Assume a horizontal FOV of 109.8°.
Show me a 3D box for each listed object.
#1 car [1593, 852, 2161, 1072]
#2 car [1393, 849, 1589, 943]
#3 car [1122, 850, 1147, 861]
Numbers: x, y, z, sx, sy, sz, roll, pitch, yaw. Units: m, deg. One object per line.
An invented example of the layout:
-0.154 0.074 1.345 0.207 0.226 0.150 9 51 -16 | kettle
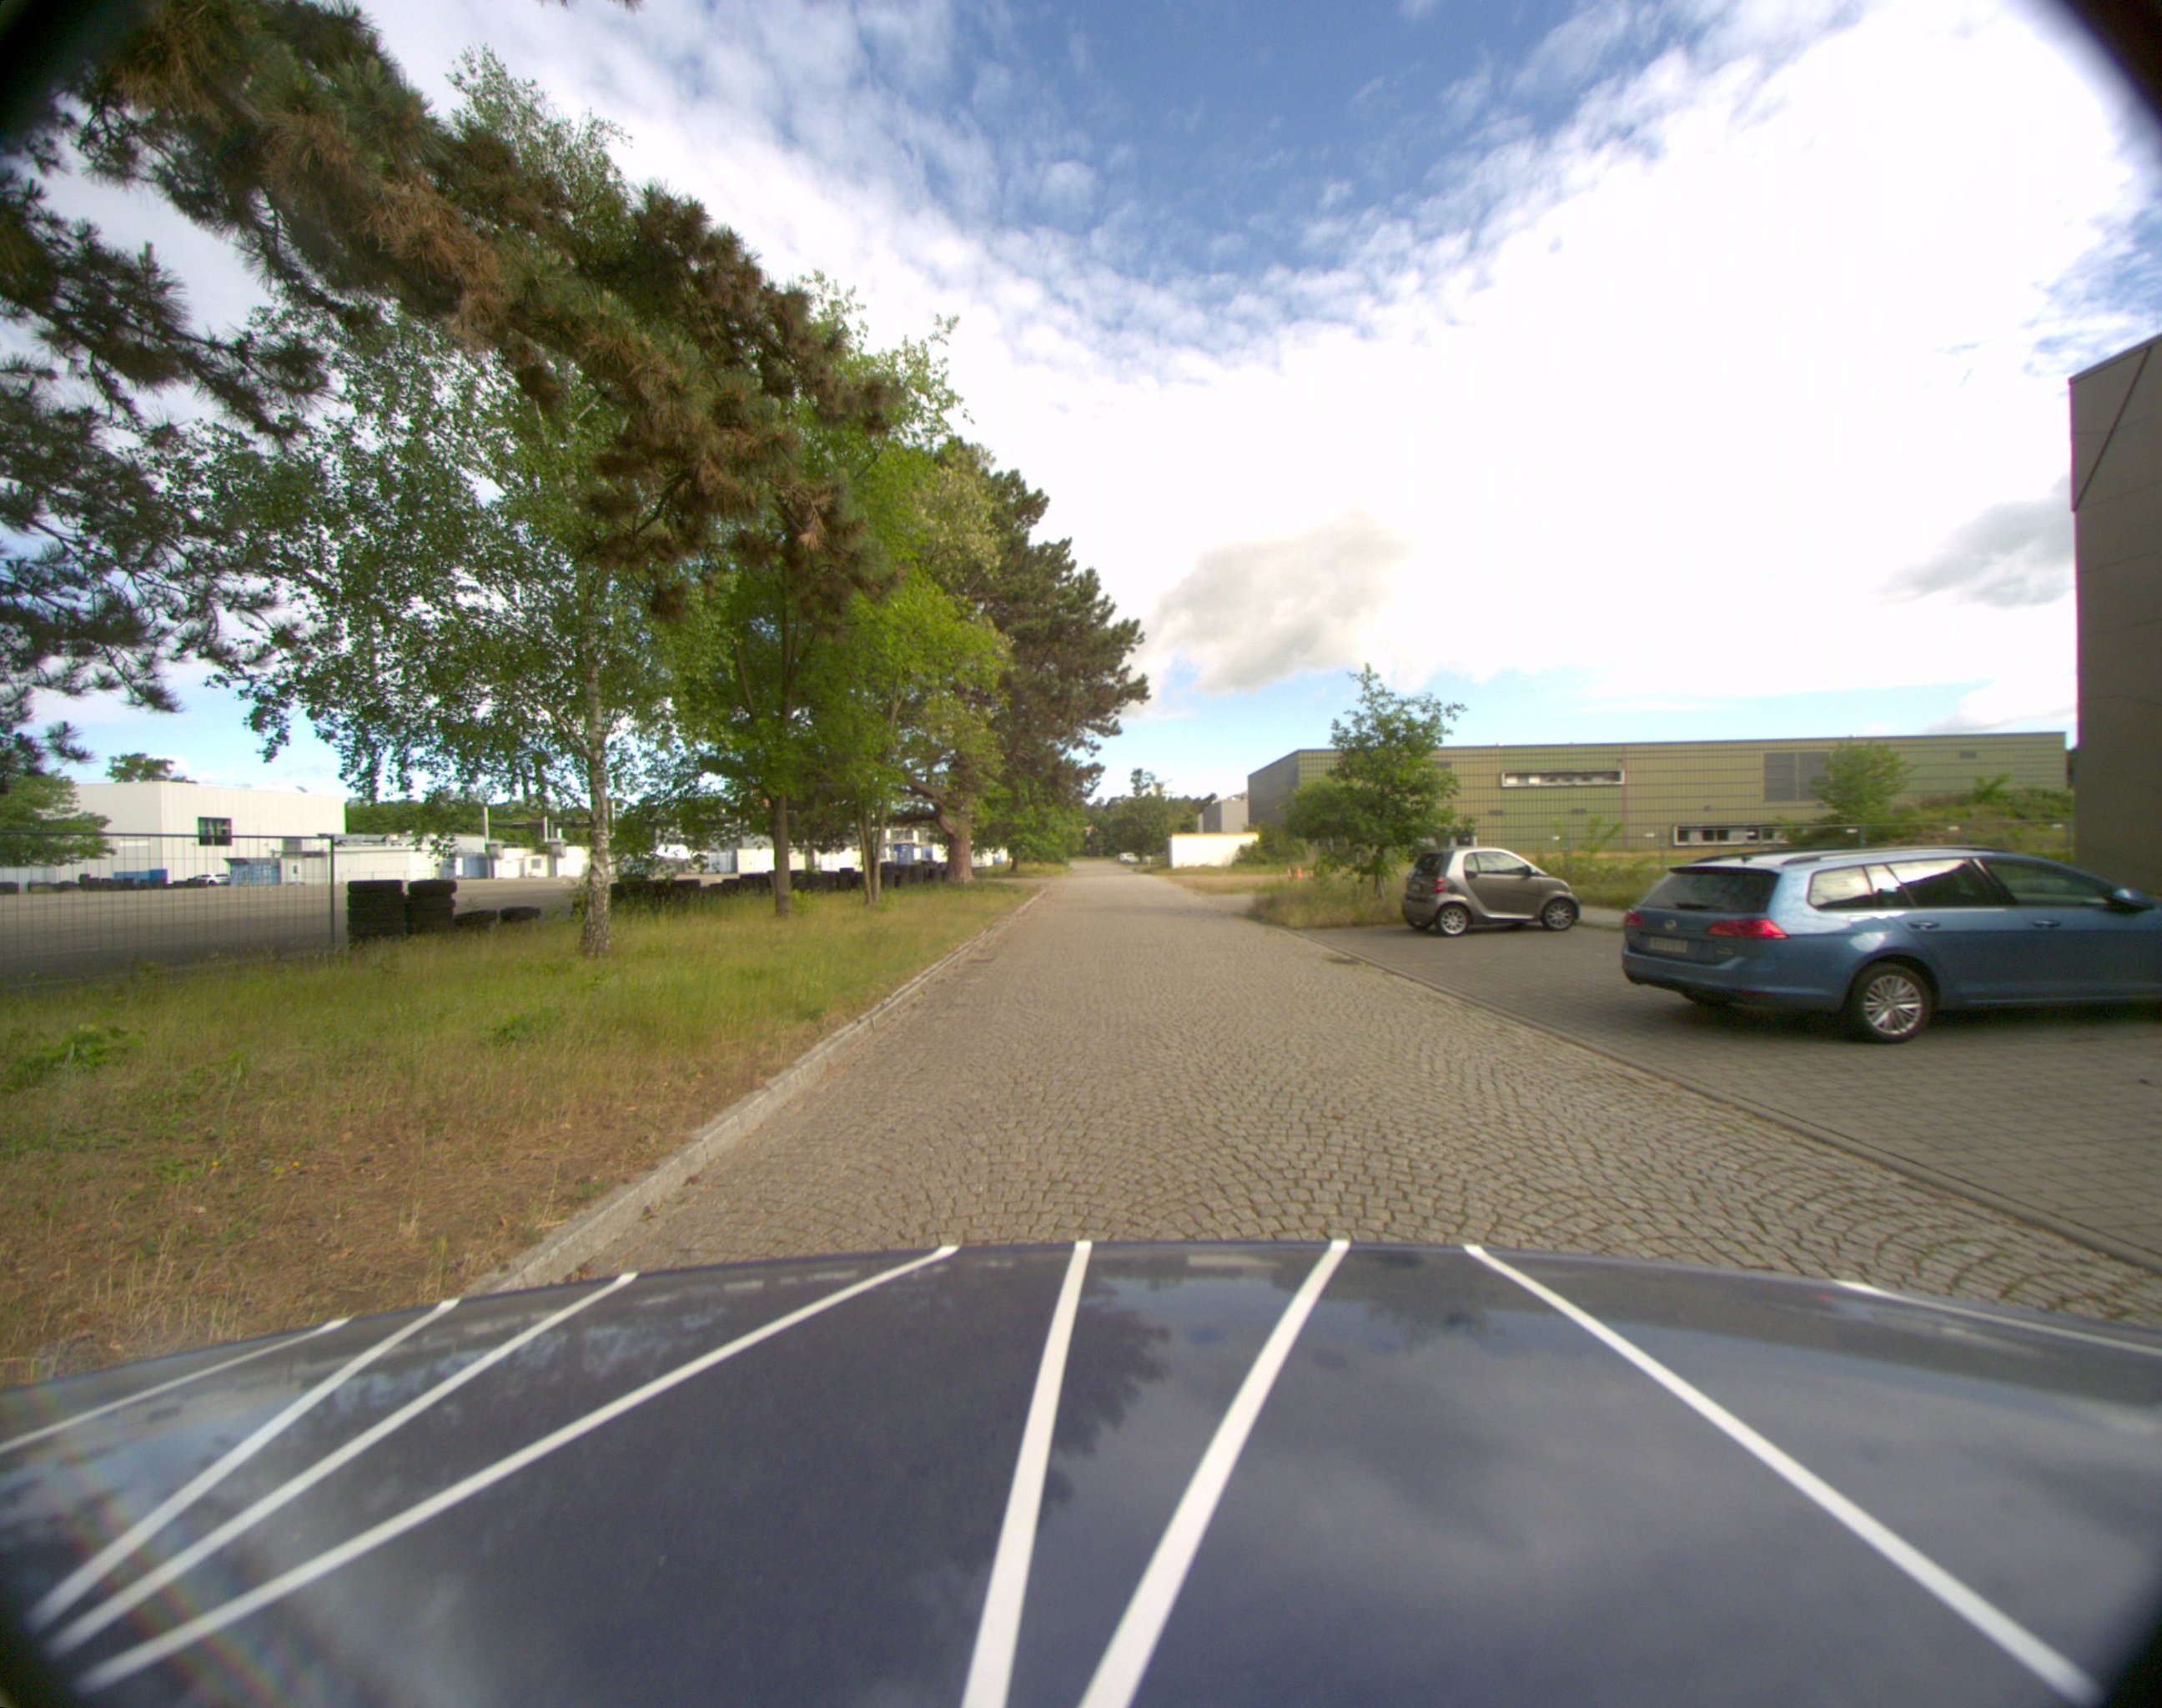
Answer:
7.172 0.793 6.556 4.317 1.420 1.773 -3 0 -2 | car
7.386 0.728 13.876 2.661 1.502 1.610 -3 0 0 | car
8.513 0.195 121.095 3.996 1.604 1.797 -1 1 4 | car
